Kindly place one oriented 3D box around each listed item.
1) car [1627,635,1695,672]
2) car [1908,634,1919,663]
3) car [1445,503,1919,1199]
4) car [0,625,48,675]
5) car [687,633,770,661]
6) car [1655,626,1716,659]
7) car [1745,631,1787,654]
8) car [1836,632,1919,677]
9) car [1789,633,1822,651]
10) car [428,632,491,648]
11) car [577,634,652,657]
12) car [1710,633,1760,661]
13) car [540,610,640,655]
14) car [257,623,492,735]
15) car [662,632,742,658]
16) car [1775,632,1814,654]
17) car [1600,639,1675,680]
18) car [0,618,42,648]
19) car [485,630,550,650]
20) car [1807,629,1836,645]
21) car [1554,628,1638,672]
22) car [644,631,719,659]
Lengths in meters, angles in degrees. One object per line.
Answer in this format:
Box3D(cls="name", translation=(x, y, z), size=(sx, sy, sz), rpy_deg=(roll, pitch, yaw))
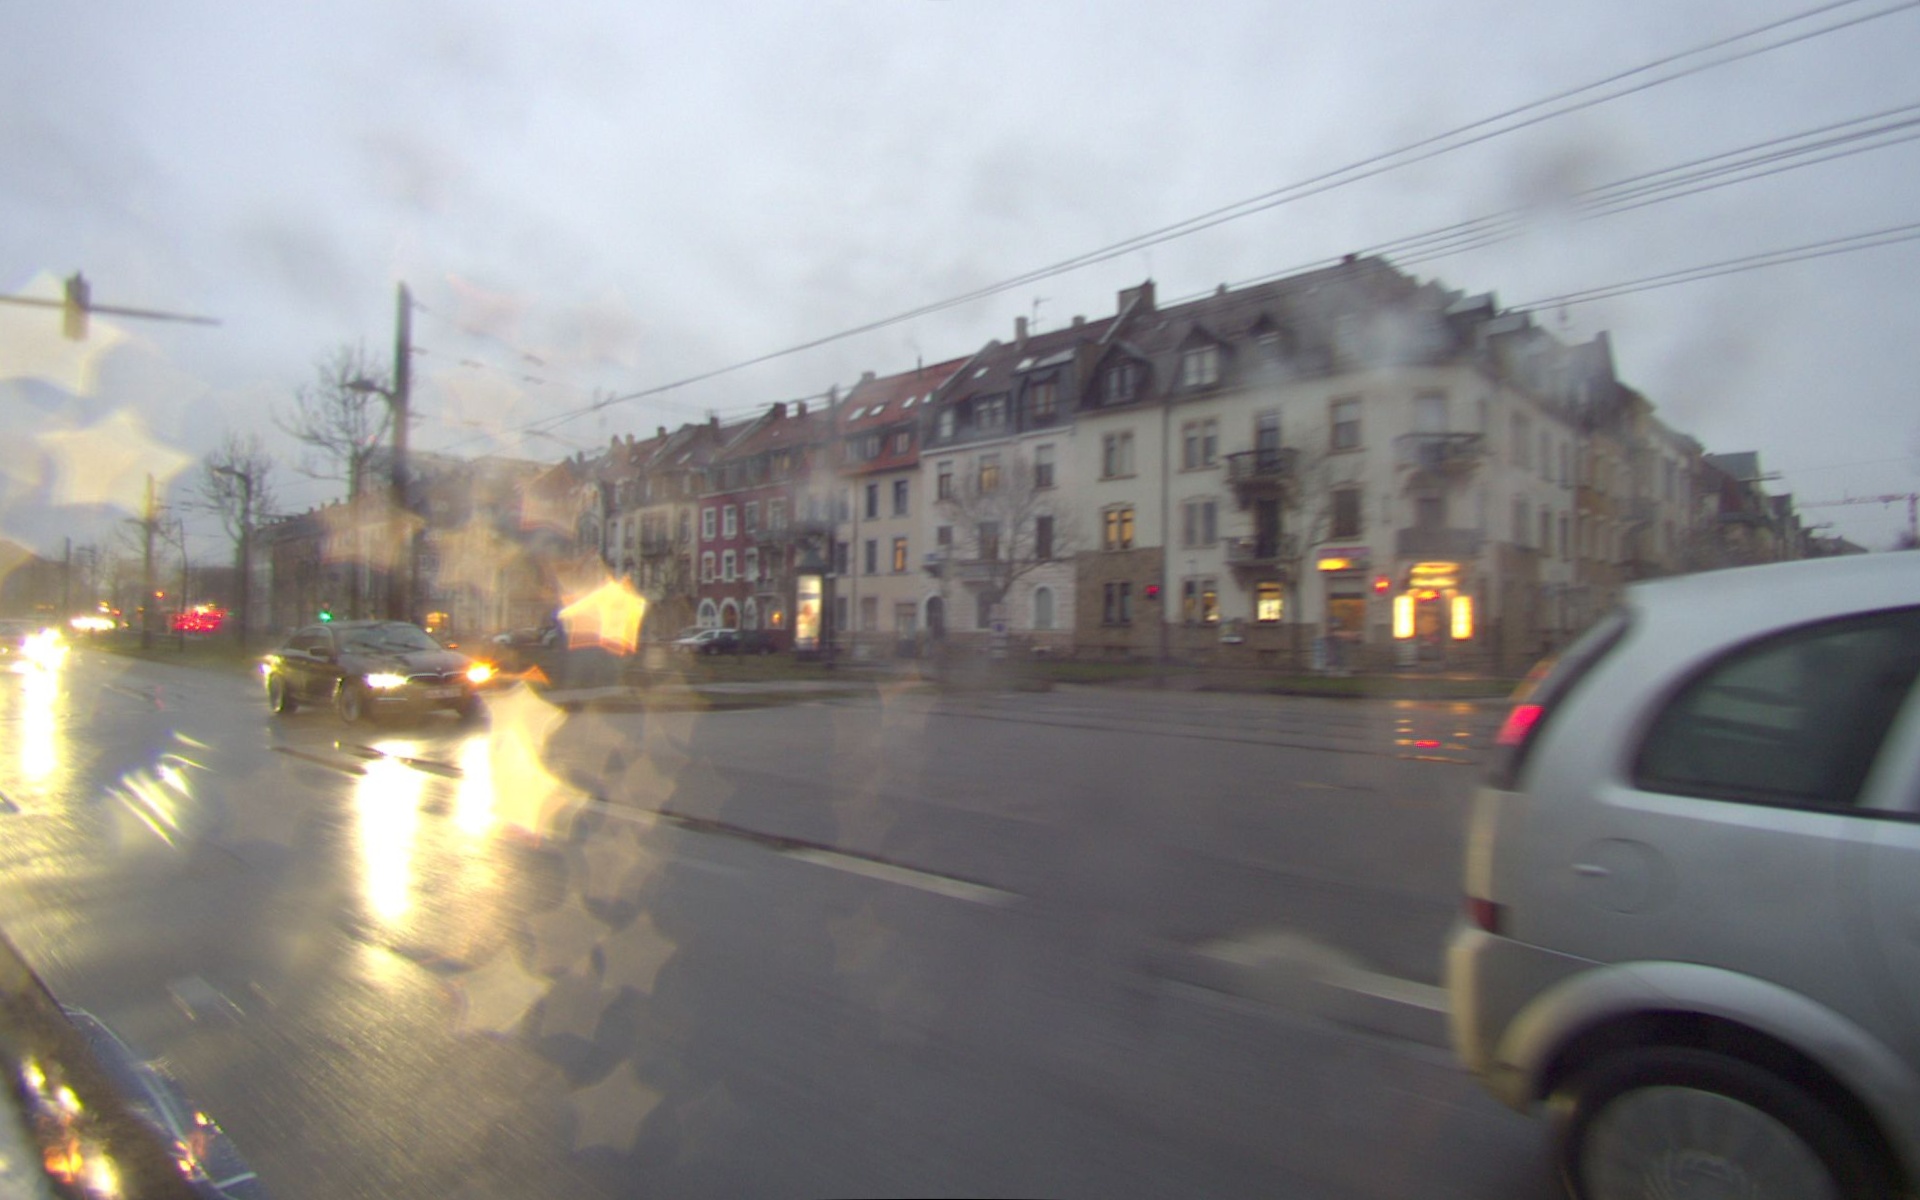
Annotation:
Box3D(cls="car", translation=(30.492, 2.291, 43.981), size=(1.795, 1.497, 3.942), rpy_deg=(-2, -3, 44))
Box3D(cls="car", translation=(49.565, 2.458, 51.355), size=(2.001, 1.431, 3.941), rpy_deg=(-1, -2, 45))
Box3D(cls="car", translation=(3.206, 0.627, 1.653), size=(4.049, 1.612, 1.791), rpy_deg=(-1, -1, 39))
Box3D(cls="car", translation=(-30.803, 1.586, 32.717), size=(1.788, 1.508, 4.056), rpy_deg=(1, -1, -45))
Box3D(cls="car", translation=(-11.715, 2.359, 51.401), size=(3.937, 1.342, 2.003), rpy_deg=(1, -2, -7))
Box3D(cls="car", translation=(34.509, 2.006, 48.088), size=(1.795, 1.497, 3.942), rpy_deg=(-2, -3, 44))
Box3D(cls="car", translation=(53.059, 2.786, 66.623), size=(1.795, 1.497, 3.942), rpy_deg=(-2, -3, 44))
Box3D(cls="car", translation=(31.945, 1.850, 35.260), size=(1.998, 1.431, 3.947), rpy_deg=(-1, -2, 39))
Box3D(cls="car", translation=(70.926, 3.539, 84.886), size=(1.795, 1.497, 3.942), rpy_deg=(-2, -3, 44))
Box3D(cls="car", translation=(-38.879, 3.124, 78.703), size=(3.937, 1.178, 2.003), rpy_deg=(1, -2, -7))
Box3D(cls="car", translation=(-20.840, 2.748, 61.219), size=(3.937, 1.342, 2.003), rpy_deg=(1, -2, -7))
Box3D(cls="car", translation=(43.713, 2.634, 57.046), size=(1.795, 1.497, 3.942), rpy_deg=(-2, -3, 44))
Box3D(cls="car", translation=(-24.010, 2.116, 65.814), size=(5.780, 2.819, 2.001), rpy_deg=(1, -2, -3))
Box3D(cls="car", translation=(-9.055, 1.077, 15.455), size=(4.826, 1.441, 1.789), rpy_deg=(-1, -1, 43))
Box3D(cls="car", translation=(-13.808, 2.395, 54.301), size=(3.937, 1.342, 2.003), rpy_deg=(1, -2, -7))
Box3D(cls="car", translation=(58.946, 3.034, 71.464), size=(1.795, 1.497, 4.594), rpy_deg=(-2, -3, 44))
Box3D(cls="car", translation=(26.887, 2.316, 40.101), size=(1.795, 1.497, 3.942), rpy_deg=(-2, -3, 44))
Box3D(cls="car", translation=(-56.937, 2.015, 61.082), size=(4.002, 1.769, 1.971), rpy_deg=(-2, -4, 45))
Box3D(cls="car", translation=(-31.992, 2.910, 73.234), size=(3.935, 1.342, 2.004), rpy_deg=(1, -2, -10))
Box3D(cls="car", translation=(80.632, 3.457, 94.744), size=(1.795, 1.497, 3.942), rpy_deg=(-2, -3, 44))
Box3D(cls="car", translation=(23.143, 1.788, 36.771), size=(1.795, 1.497, 3.942), rpy_deg=(-2, -3, 44))
Box3D(cls="car", translation=(-15.605, 2.527, 56.887), size=(3.935, 1.497, 2.004), rpy_deg=(1, -2, -10))
